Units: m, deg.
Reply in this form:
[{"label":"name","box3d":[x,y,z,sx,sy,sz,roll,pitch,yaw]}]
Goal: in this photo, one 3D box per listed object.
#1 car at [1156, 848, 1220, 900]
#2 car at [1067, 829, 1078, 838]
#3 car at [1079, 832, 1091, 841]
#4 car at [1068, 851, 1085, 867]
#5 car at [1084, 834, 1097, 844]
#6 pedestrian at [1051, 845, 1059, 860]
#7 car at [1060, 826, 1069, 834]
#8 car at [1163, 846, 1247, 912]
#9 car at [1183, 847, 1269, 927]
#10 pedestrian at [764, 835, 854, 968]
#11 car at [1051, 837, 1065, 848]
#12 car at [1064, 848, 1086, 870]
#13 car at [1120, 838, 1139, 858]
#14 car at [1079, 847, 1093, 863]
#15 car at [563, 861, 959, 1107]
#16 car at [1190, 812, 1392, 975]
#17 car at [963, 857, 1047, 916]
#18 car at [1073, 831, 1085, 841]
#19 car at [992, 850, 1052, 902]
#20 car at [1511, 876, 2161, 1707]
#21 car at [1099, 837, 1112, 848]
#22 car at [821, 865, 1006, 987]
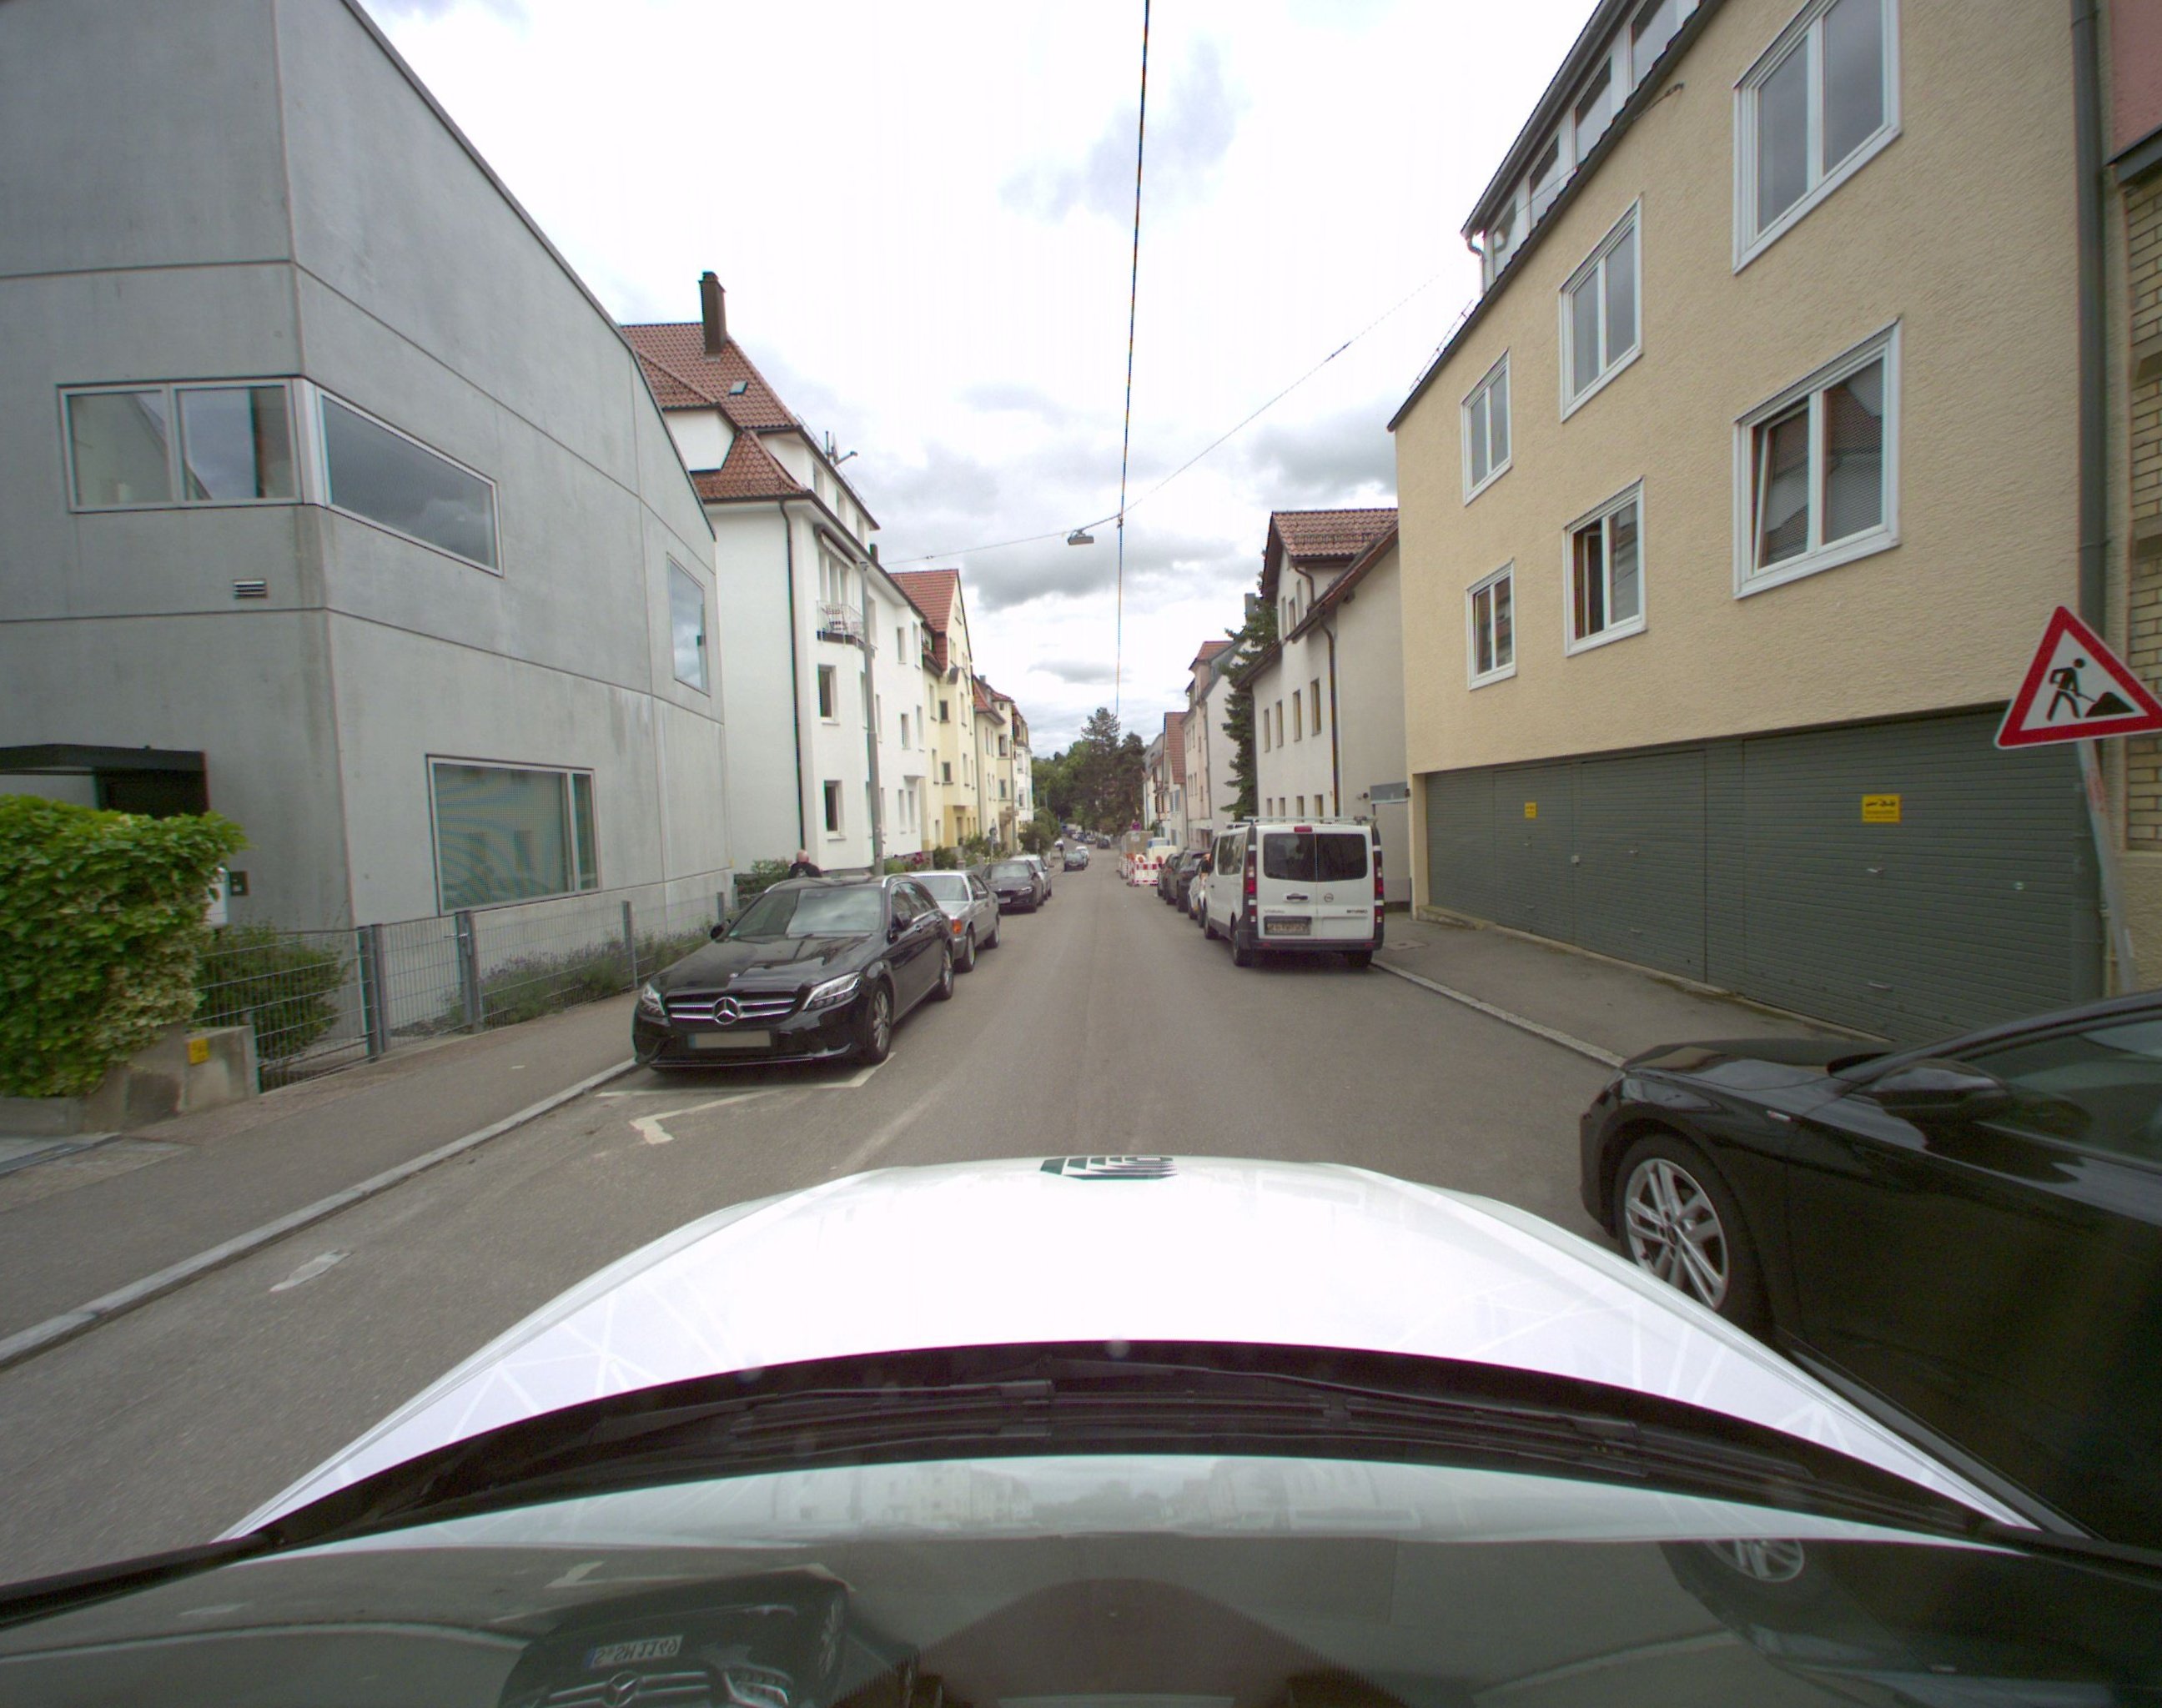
[{"label":"car","box3d":[3.478,0.611,27.139,1.708,1.565,4.075,-1,1,2]},{"label":"car","box3d":[-1.621,-3.939,156.925,1.633,1.537,3.522,-1,4,-8]},{"label":"car","box3d":[0.762,-3.095,145.029,1.633,1.483,3.522,-1,4,-8]},{"label":"car","box3d":[-0.425,0.501,83.623,1.637,1.416,3.984,-3,1,1]},{"label":"car","box3d":[1.643,-2.547,140.469,1.633,1.483,3.522,-1,4,-8]},{"label":"pedestrian","box3d":[-3.276,-0.194,103.206,0.788,1.932,0.920,-1,1,4]},{"label":"car","box3d":[-3.487,-5.011,171.510,1.633,1.537,3.522,-1,4,-8]},{"label":"car","box3d":[3.302,0.598,22.388,1.707,1.596,4.500,-1,1,1]},{"label":"car","box3d":[3.129,0.660,17.966,1.481,1.596,2.792,-1,1,2]},{"label":"pedestrian","box3d":[-4.027,0.687,12.094,0.809,1.884,0.852,-3,0,24]},{"label":"car","box3d":[-3.856,-1.945,137.971,1.673,1.656,3.849,-4,3,-11]},{"label":"car","box3d":[-0.585,0.421,73.254,1.840,1.815,4.542,-3,0,-1]},{"label":"car","box3d":[5.830,-0.749,98.345,1.973,2.362,4.278,-2,2,1]},{"label":"car","box3d":[0.639,0.065,101.269,1.667,1.656,3.864,-3,3,1]},{"label":"car","box3d":[-2.445,0.875,7.604,1.890,1.527,4.469,-2,0,0]},{"label":"car","box3d":[3.037,0.464,13.148,1.898,2.029,5.735,-1,1,1]},{"label":"car","box3d":[-2.094,0.867,23.748,1.838,1.457,4.506,-3,0,2]},{"label":"car","box3d":[-0.387,-3.387,151.169,1.633,1.537,3.522,-1,4,-8]},{"label":"car","box3d":[-2.060,0.729,29.714,1.839,1.631,4.285,-2,1,0]},{"label":"car","box3d":[2.793,0.842,1.274,1.846,1.403,4.575,-1,1,0]},{"label":"car","box3d":[3.847,-1.871,128.509,1.632,1.483,3.524,-1,4,-6]},{"label":"car","box3d":[-2.352,0.945,12.848,1.839,1.413,5.060,-2,0,0]}]
